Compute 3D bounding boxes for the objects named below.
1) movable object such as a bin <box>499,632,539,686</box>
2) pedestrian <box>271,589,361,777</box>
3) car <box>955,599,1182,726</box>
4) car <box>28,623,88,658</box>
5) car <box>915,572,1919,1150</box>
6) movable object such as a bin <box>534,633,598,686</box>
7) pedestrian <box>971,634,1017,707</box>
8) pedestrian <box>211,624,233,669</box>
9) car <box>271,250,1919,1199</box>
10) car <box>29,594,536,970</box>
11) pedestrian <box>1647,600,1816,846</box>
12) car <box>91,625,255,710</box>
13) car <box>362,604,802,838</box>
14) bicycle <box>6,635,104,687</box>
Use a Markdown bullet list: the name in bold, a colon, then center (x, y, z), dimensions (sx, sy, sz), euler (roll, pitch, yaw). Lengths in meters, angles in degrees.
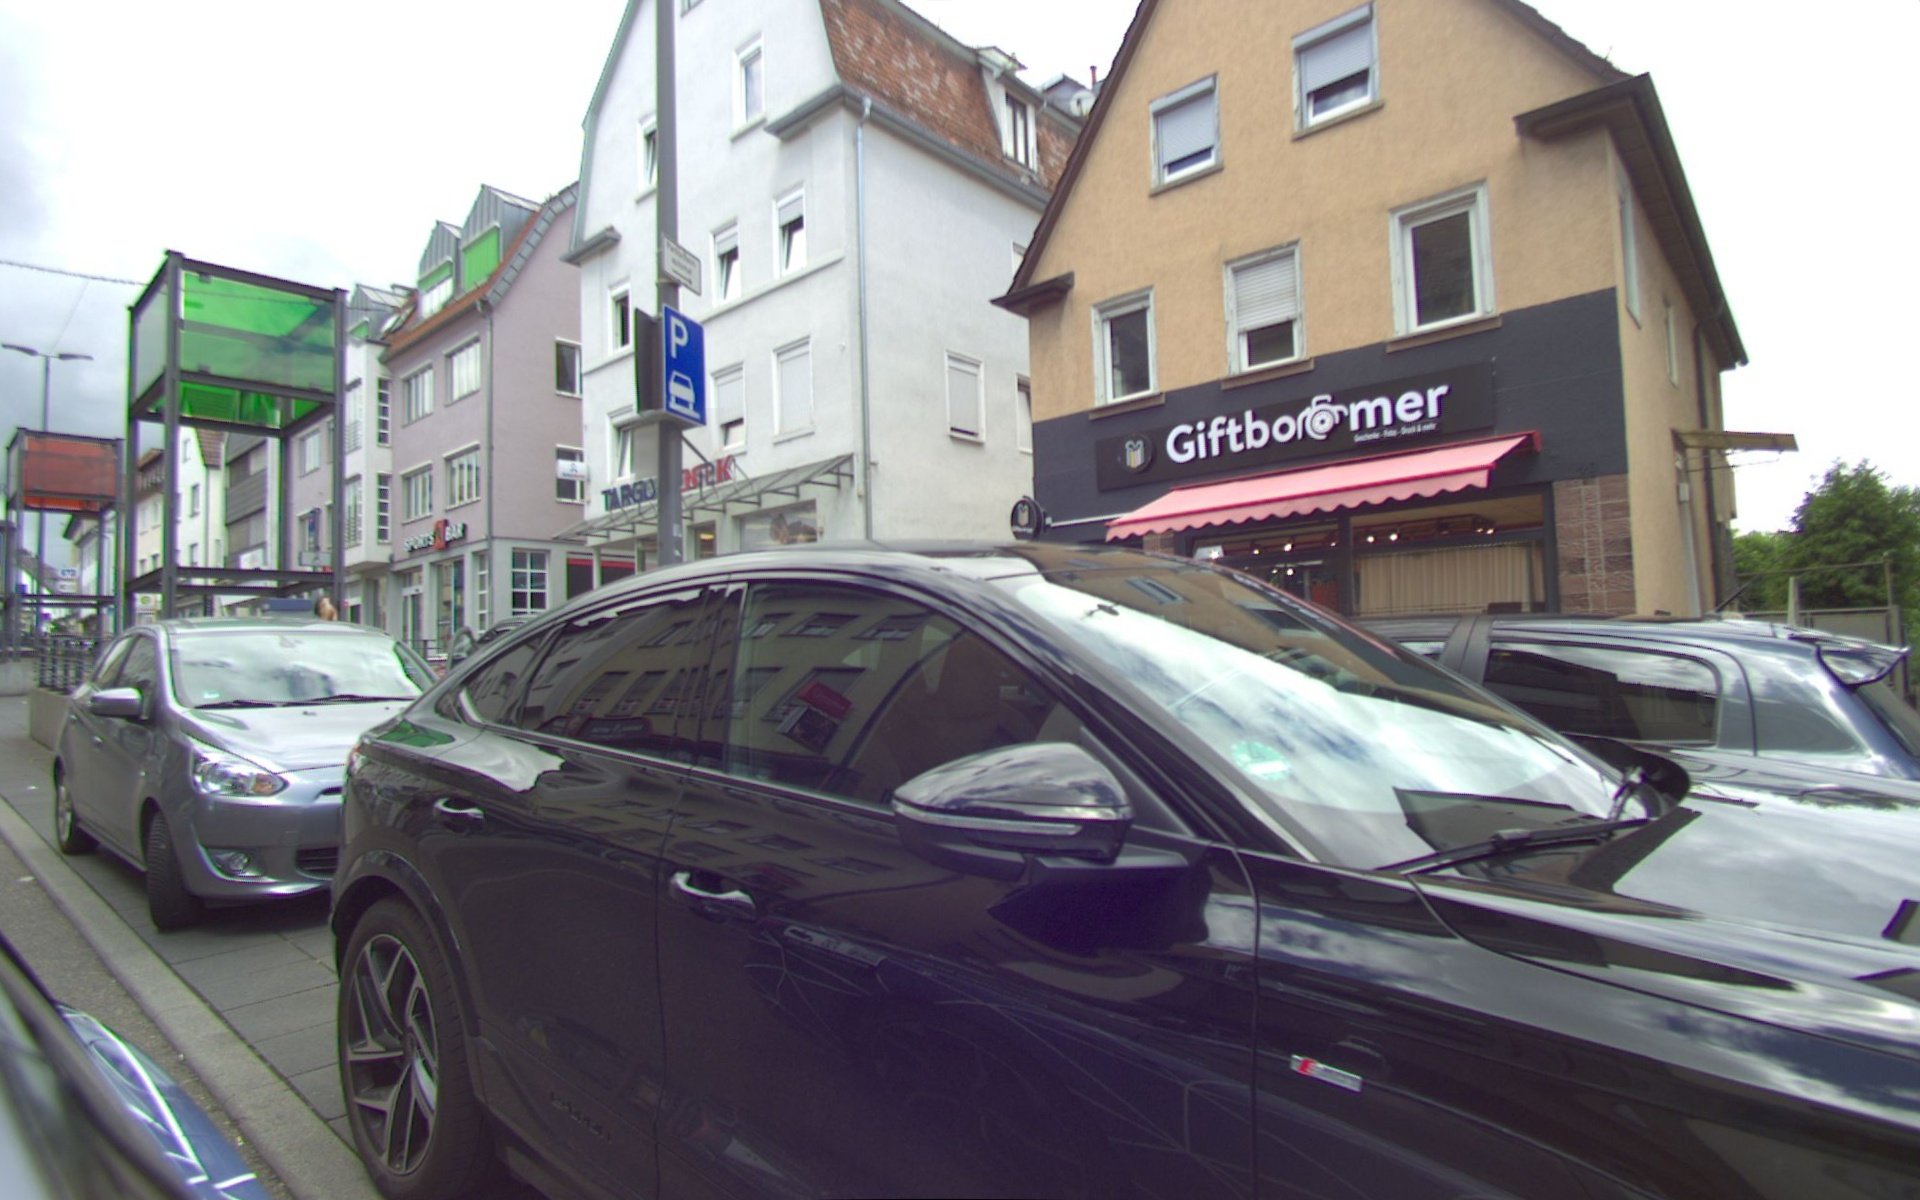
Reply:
- **movable object such as a bin**: center (-11.583, 1.533, 26.579), dimensions (0.807, 1.387, 0.682), euler (-2, -2, 41)
- **pedestrian**: center (-6.134, 0.763, 9.634), dimensions (0.901, 1.685, 0.527), euler (-2, -3, 44)
- **car**: center (1.985, 0.987, 17.708), dimensions (1.883, 1.887, 4.026), euler (-2, -1, 43)
- **car**: center (-43.246, 1.917, 48.502), dimensions (4.120, 1.583, 1.662), euler (-1, -1, 41)
- **car**: center (1.812, 0.708, 4.295), dimensions (3.881, 1.487, 1.721), euler (-1, -2, 40)
- **movable object such as a bin**: center (-10.646, 1.579, 27.370), dimensions (1.067, 1.387, 1.270), euler (-2, -2, 41)
- **pedestrian**: center (0.641, 1.313, 19.014), dimensions (0.606, 1.329, 0.619), euler (-2, -2, 41)
- **pedestrian**: center (-28.817, 1.818, 39.524), dimensions (0.513, 1.729, 0.584), euler (-1, -1, 41)
- **car**: center (0.335, 0.626, 2.130), dimensions (4.312, 1.652, 1.936), euler (-1, -1, 41)
- **car**: center (-4.159, 0.771, 5.981), dimensions (3.668, 1.544, 1.603), euler (-1, -1, 41)
- **pedestrian**: center (5.622, 0.868, 7.410), dimensions (0.635, 1.702, 0.667), euler (0, -3, -9)
- **car**: center (-15.105, 1.230, 19.361), dimensions (3.850, 1.486, 1.553), euler (-1, -3, 38)
- **car**: center (-3.422, 0.869, 8.771), dimensions (4.190, 1.555, 1.721), euler (-1, -3, 40)
- **bicycle**: center (-22.539, 1.504, 25.231), dimensions (0.459, 1.232, 1.760), euler (-1, -3, 40)
